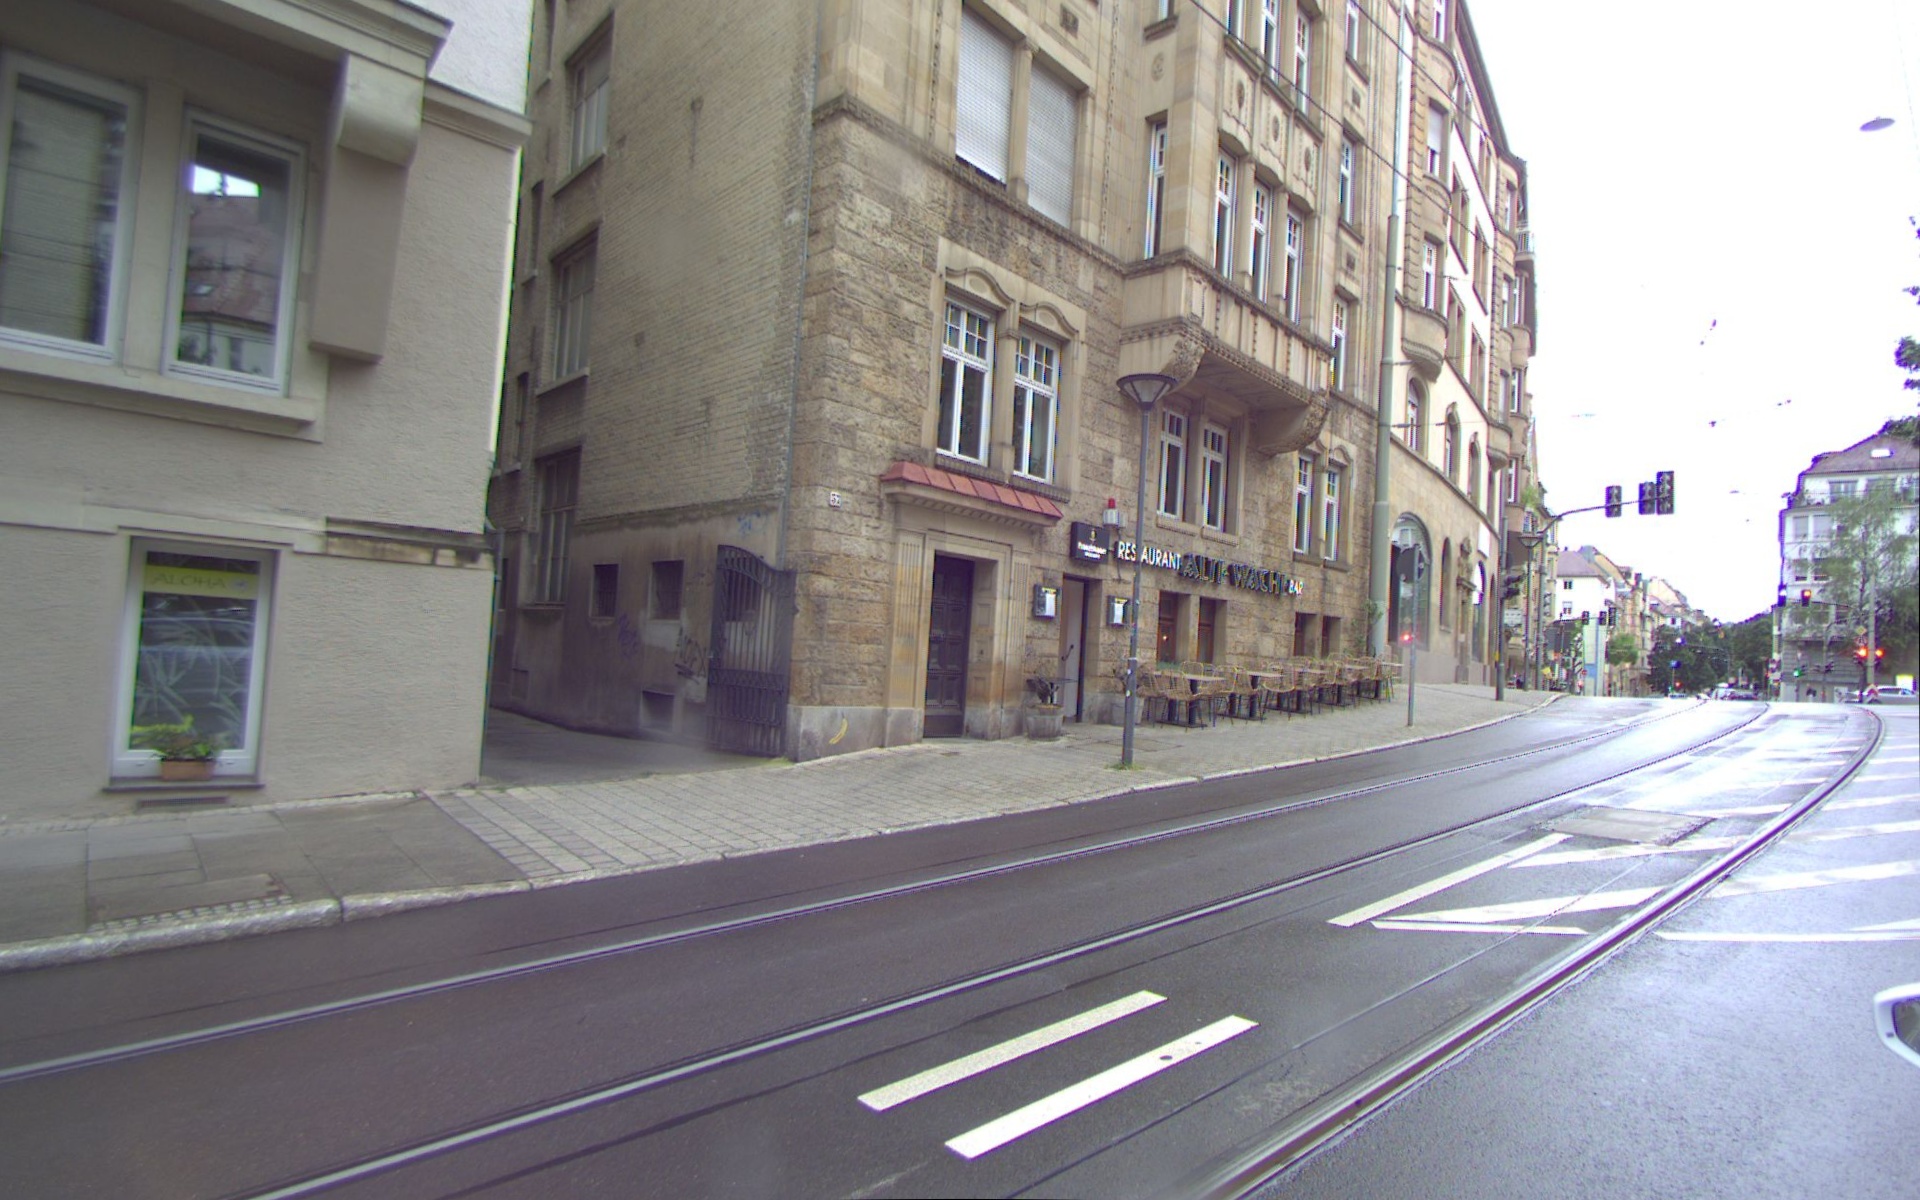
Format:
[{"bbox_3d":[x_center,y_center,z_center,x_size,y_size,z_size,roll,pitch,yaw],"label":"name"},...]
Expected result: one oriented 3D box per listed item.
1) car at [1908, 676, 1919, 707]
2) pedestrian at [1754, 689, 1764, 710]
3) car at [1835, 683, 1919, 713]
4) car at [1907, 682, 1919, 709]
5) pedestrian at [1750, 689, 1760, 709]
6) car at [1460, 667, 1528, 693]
[{"bbox_3d":[50.056,4.605,51.000,3.954,1.530,1.786,2,-4,-31],"label":"car"},{"bbox_3d":[67.961,8.436,85.407,0.640,1.683,0.647,1,-1,40],"label":"pedestrian"},{"bbox_3d":[53.739,5.653,57.936,4.574,1.530,1.800,0,-2,20],"label":"car"},{"bbox_3d":[61.139,5.946,62.134,3.930,1.635,1.796,1,-2,-12],"label":"car"},{"bbox_3d":[69.354,8.601,87.653,0.640,1.683,0.647,1,-1,40],"label":"pedestrian"},{"bbox_3d":[36.134,5.381,68.032,3.932,1.530,1.795,0,-2,33],"label":"car"}]
